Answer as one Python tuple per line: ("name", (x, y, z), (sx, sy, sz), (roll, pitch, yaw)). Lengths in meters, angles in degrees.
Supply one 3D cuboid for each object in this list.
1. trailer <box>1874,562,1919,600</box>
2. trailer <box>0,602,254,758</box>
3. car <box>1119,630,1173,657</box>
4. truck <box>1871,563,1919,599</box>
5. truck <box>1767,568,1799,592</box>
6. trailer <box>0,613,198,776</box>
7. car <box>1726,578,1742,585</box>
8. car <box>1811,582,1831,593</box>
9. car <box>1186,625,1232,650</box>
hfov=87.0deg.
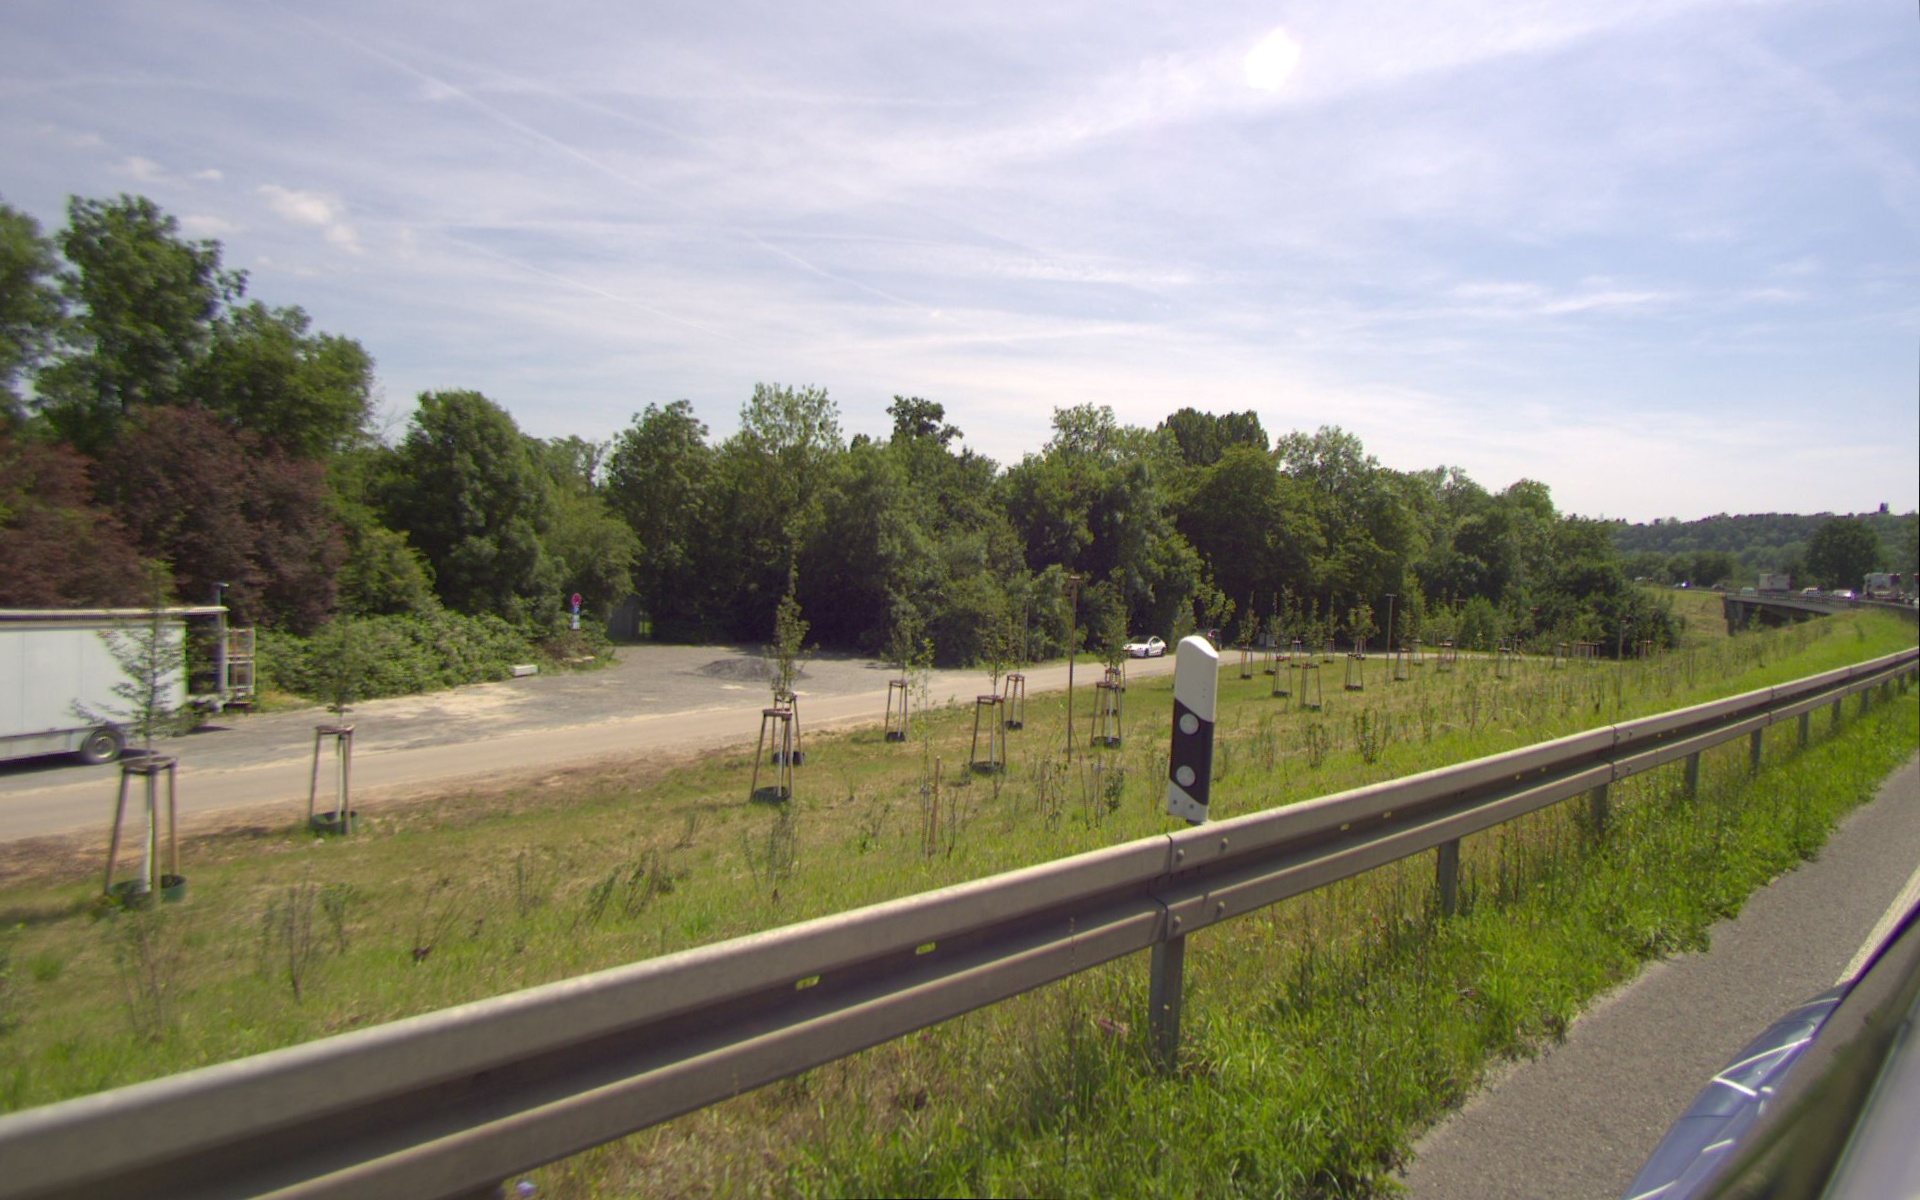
("trailer", (104.096, -2.104, 111.531), (3.109, 4.029, 15.161), (1, 1, 35))
("trailer", (-24.059, 1.936, 24.868), (2.691, 3.652, 11.825), (0, 0, 18))
("car", (12.890, 2.987, 69.949), (1.853, 1.500, 4.549), (6, 3, 35))
("truck", (107.894, -2.218, 116.868), (3.109, 4.007, 6.538), (1, 1, 36))
("truck", (139.599, -3.386, 171.673), (2.901, 3.851, 9.599), (1, 1, 31))
("trailer", (-22.281, 2.083, 20.403), (2.689, 3.369, 11.834), (1, 1, 16))
("car", (156.753, -3.791, 205.066), (1.709, 1.501, 4.529), (0, 1, 26))
("car", (129.253, -1.950, 151.960), (1.751, 1.530, 3.953), (0, 2, 34))
("car", (19.442, 2.877, 78.970), (1.855, 1.702, 4.141), (6, 3, 38))
